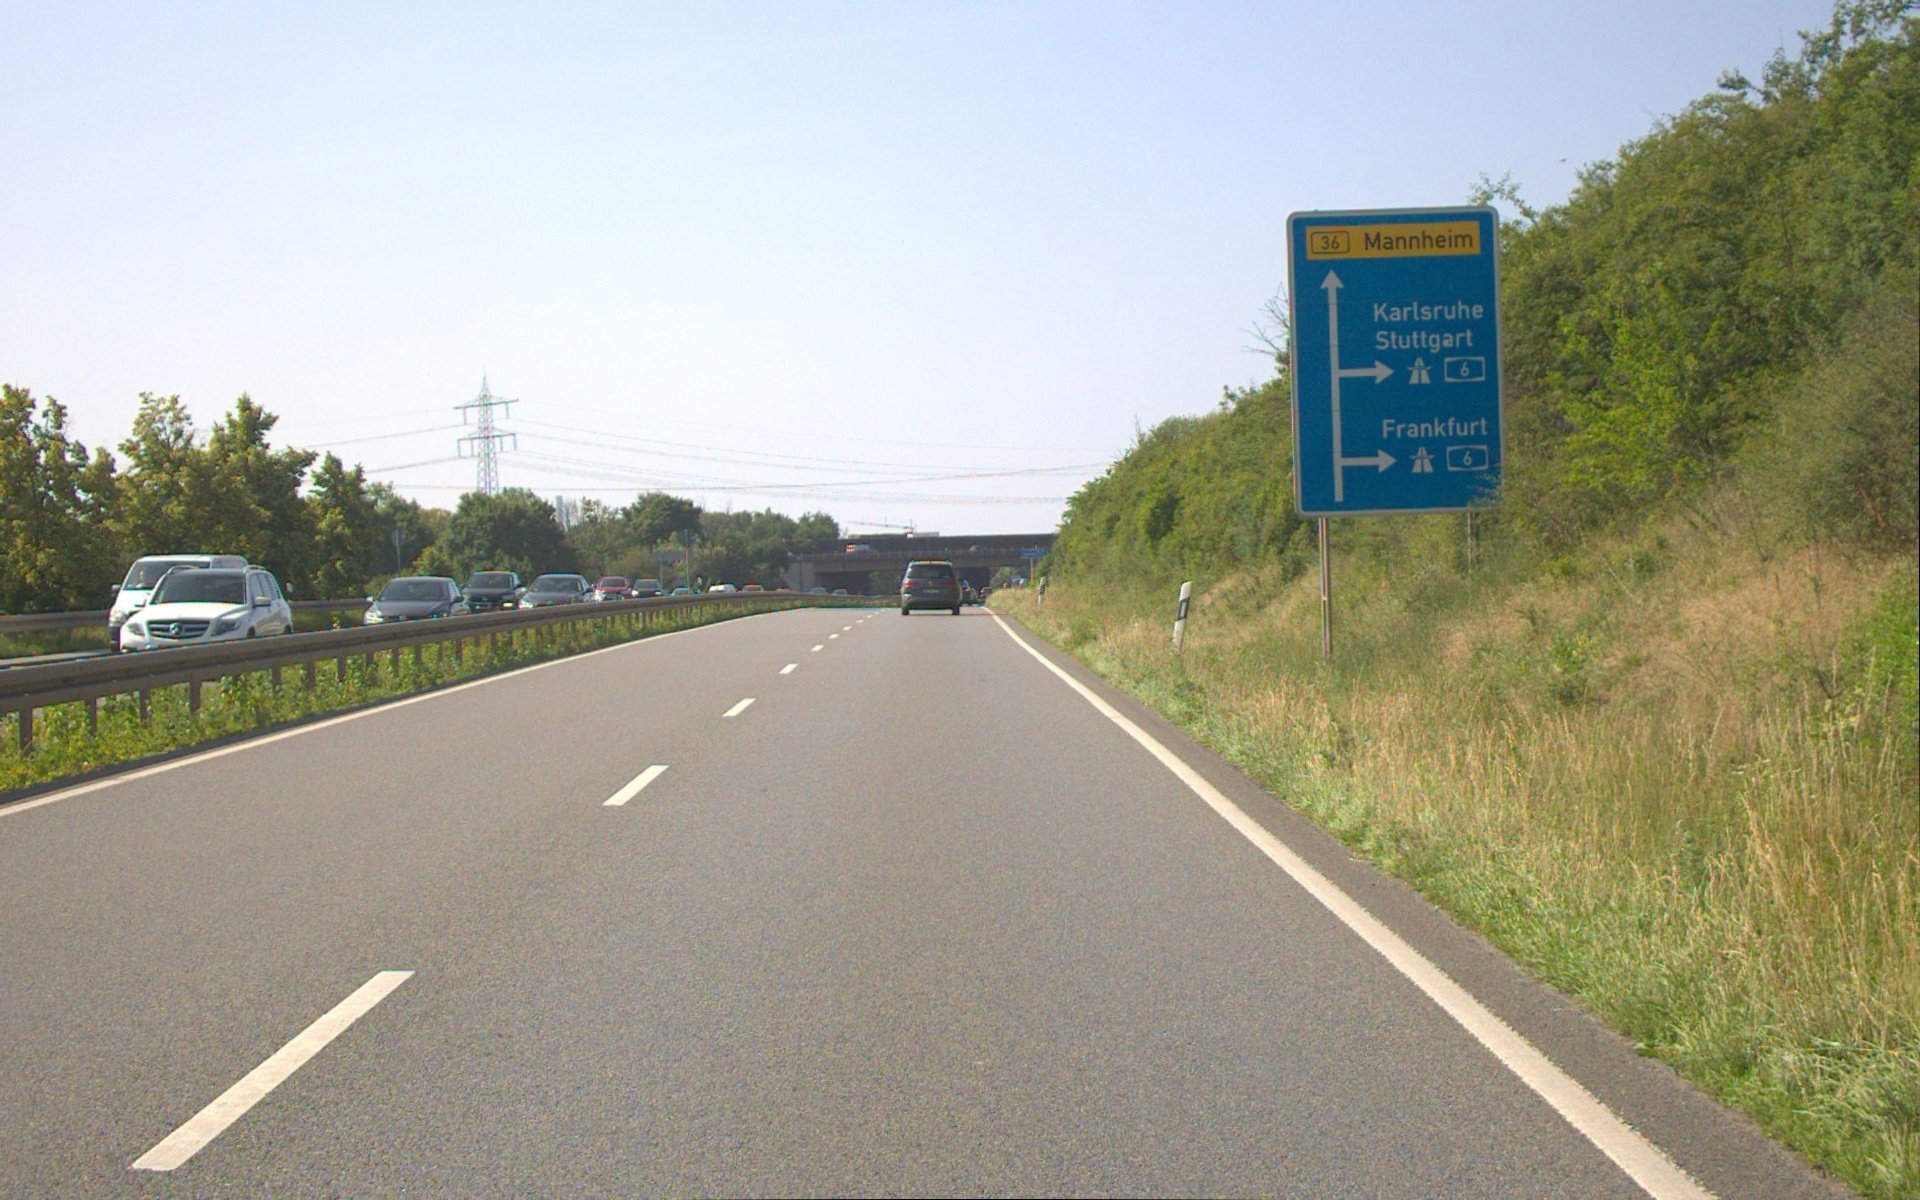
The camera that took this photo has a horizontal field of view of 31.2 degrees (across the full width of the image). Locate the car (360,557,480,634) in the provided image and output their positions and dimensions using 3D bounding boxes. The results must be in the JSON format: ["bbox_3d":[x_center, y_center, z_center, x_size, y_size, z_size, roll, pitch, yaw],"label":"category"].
[{"bbox_3d":[-11.131,-0.113,71.098,1.839,1.441,4.038,1,1,-1],"label":"car"}]

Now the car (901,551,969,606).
[{"bbox_3d":[-0.743,-0.637,104.924,1.850,1.639,4.000,-1,0,3],"label":"car"}]

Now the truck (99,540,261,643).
[{"bbox_3d":[-14.799,-0.203,65.517,1.922,1.834,5.292,0,1,-1],"label":"truck"}]

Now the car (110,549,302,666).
[{"bbox_3d":[-11.185,0.084,51.300,1.839,1.659,4.721,0,1,0],"label":"car"}]

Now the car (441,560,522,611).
[{"bbox_3d":[-15.031,-0.459,108.119,1.813,1.536,4.453,-1,0,1],"label":"car"}]

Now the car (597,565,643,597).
[{"bbox_3d":[-17.265,-0.946,174.562,1.843,1.588,4.773,0,0,0],"label":"car"}]

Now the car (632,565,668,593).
[{"bbox_3d":[-17.940,-1.225,199.068,1.726,1.590,4.221,0,0,0],"label":"car"}]
